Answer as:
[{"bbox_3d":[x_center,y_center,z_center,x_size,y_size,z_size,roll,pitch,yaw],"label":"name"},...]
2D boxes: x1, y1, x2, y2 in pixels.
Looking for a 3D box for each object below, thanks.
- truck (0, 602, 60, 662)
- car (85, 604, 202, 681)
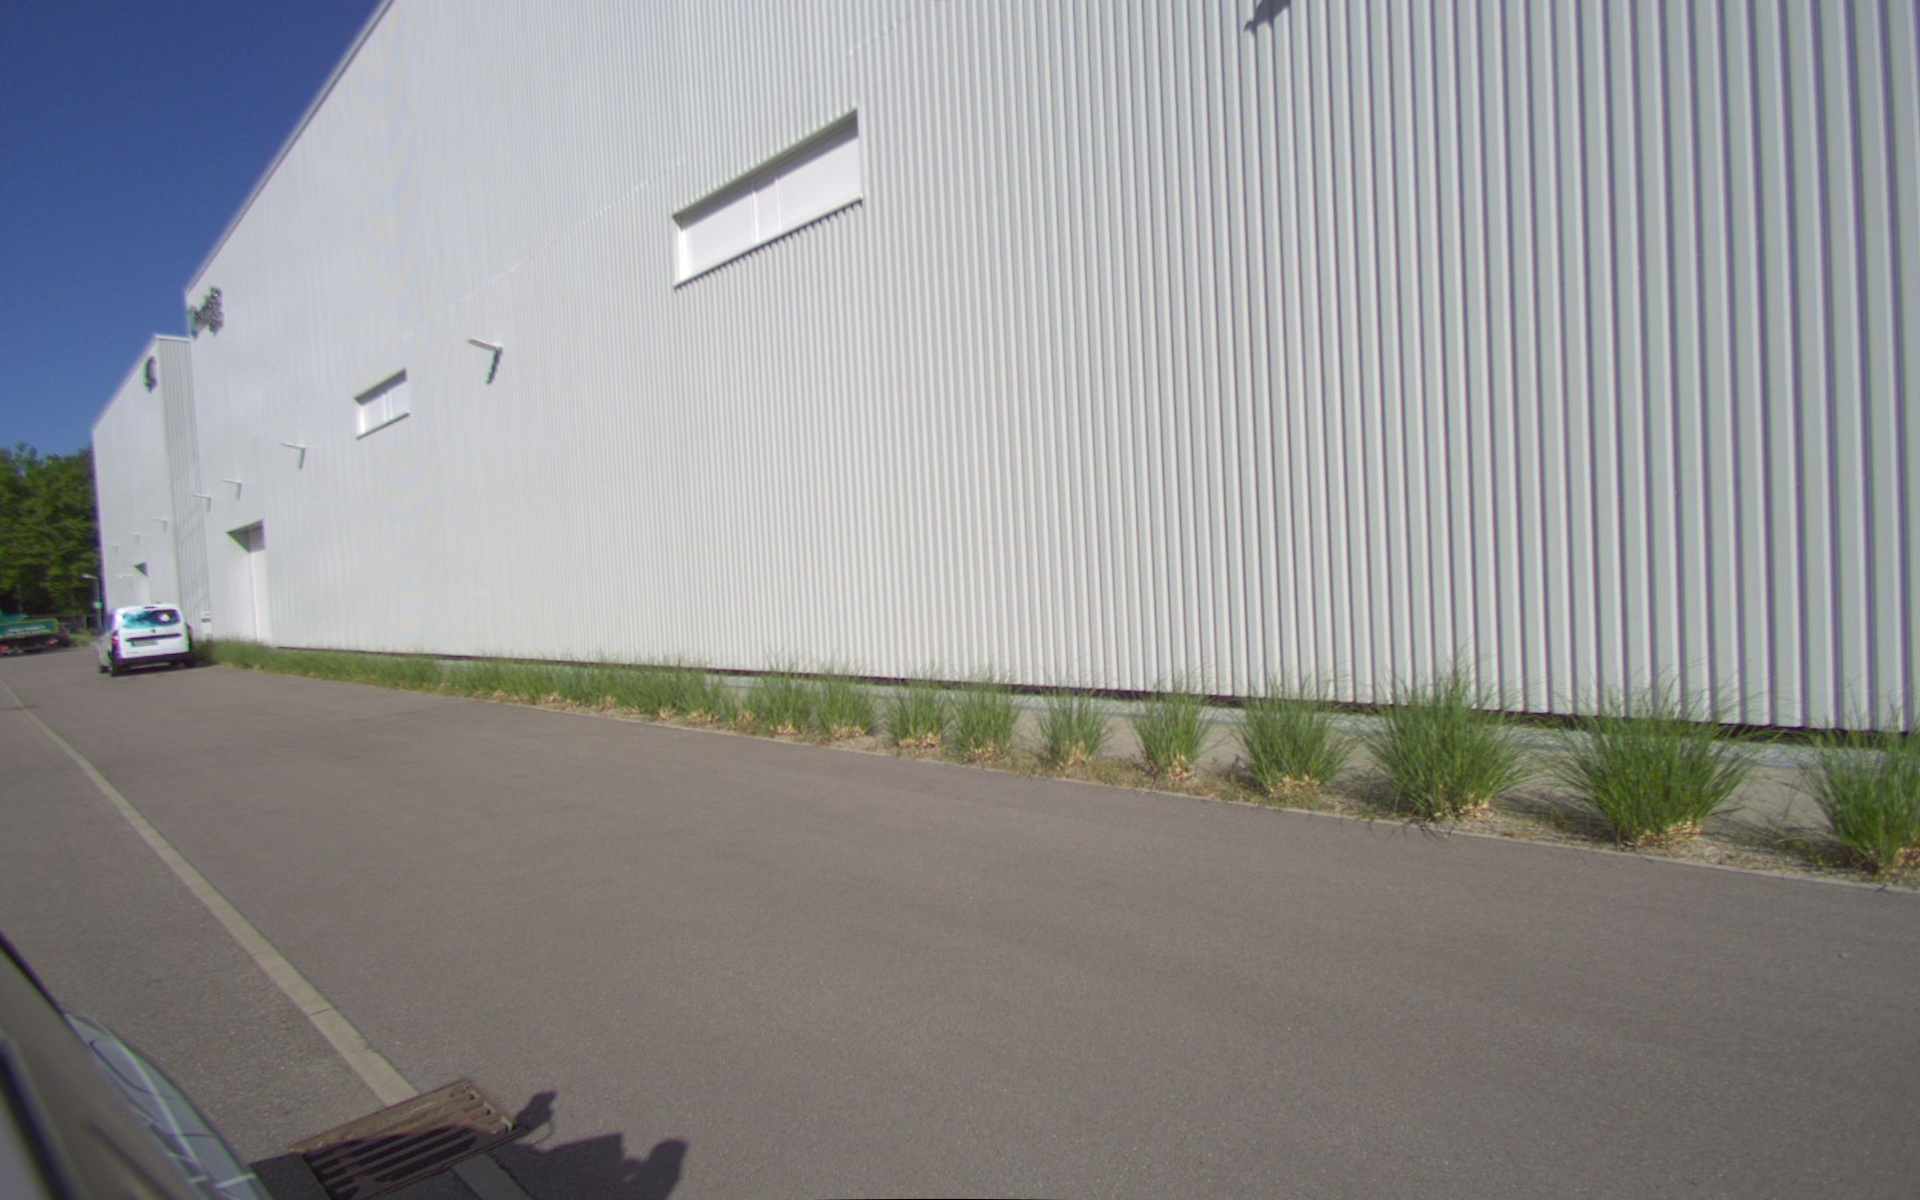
[{"bbox_3d":[-50.772,1.802,53.072,9.664,2.736,2.562,-3,3,32],"label":"truck"},{"bbox_3d":[-22.568,1.129,27.894,4.600,1.803,1.907,-2,3,45],"label":"car"}]
